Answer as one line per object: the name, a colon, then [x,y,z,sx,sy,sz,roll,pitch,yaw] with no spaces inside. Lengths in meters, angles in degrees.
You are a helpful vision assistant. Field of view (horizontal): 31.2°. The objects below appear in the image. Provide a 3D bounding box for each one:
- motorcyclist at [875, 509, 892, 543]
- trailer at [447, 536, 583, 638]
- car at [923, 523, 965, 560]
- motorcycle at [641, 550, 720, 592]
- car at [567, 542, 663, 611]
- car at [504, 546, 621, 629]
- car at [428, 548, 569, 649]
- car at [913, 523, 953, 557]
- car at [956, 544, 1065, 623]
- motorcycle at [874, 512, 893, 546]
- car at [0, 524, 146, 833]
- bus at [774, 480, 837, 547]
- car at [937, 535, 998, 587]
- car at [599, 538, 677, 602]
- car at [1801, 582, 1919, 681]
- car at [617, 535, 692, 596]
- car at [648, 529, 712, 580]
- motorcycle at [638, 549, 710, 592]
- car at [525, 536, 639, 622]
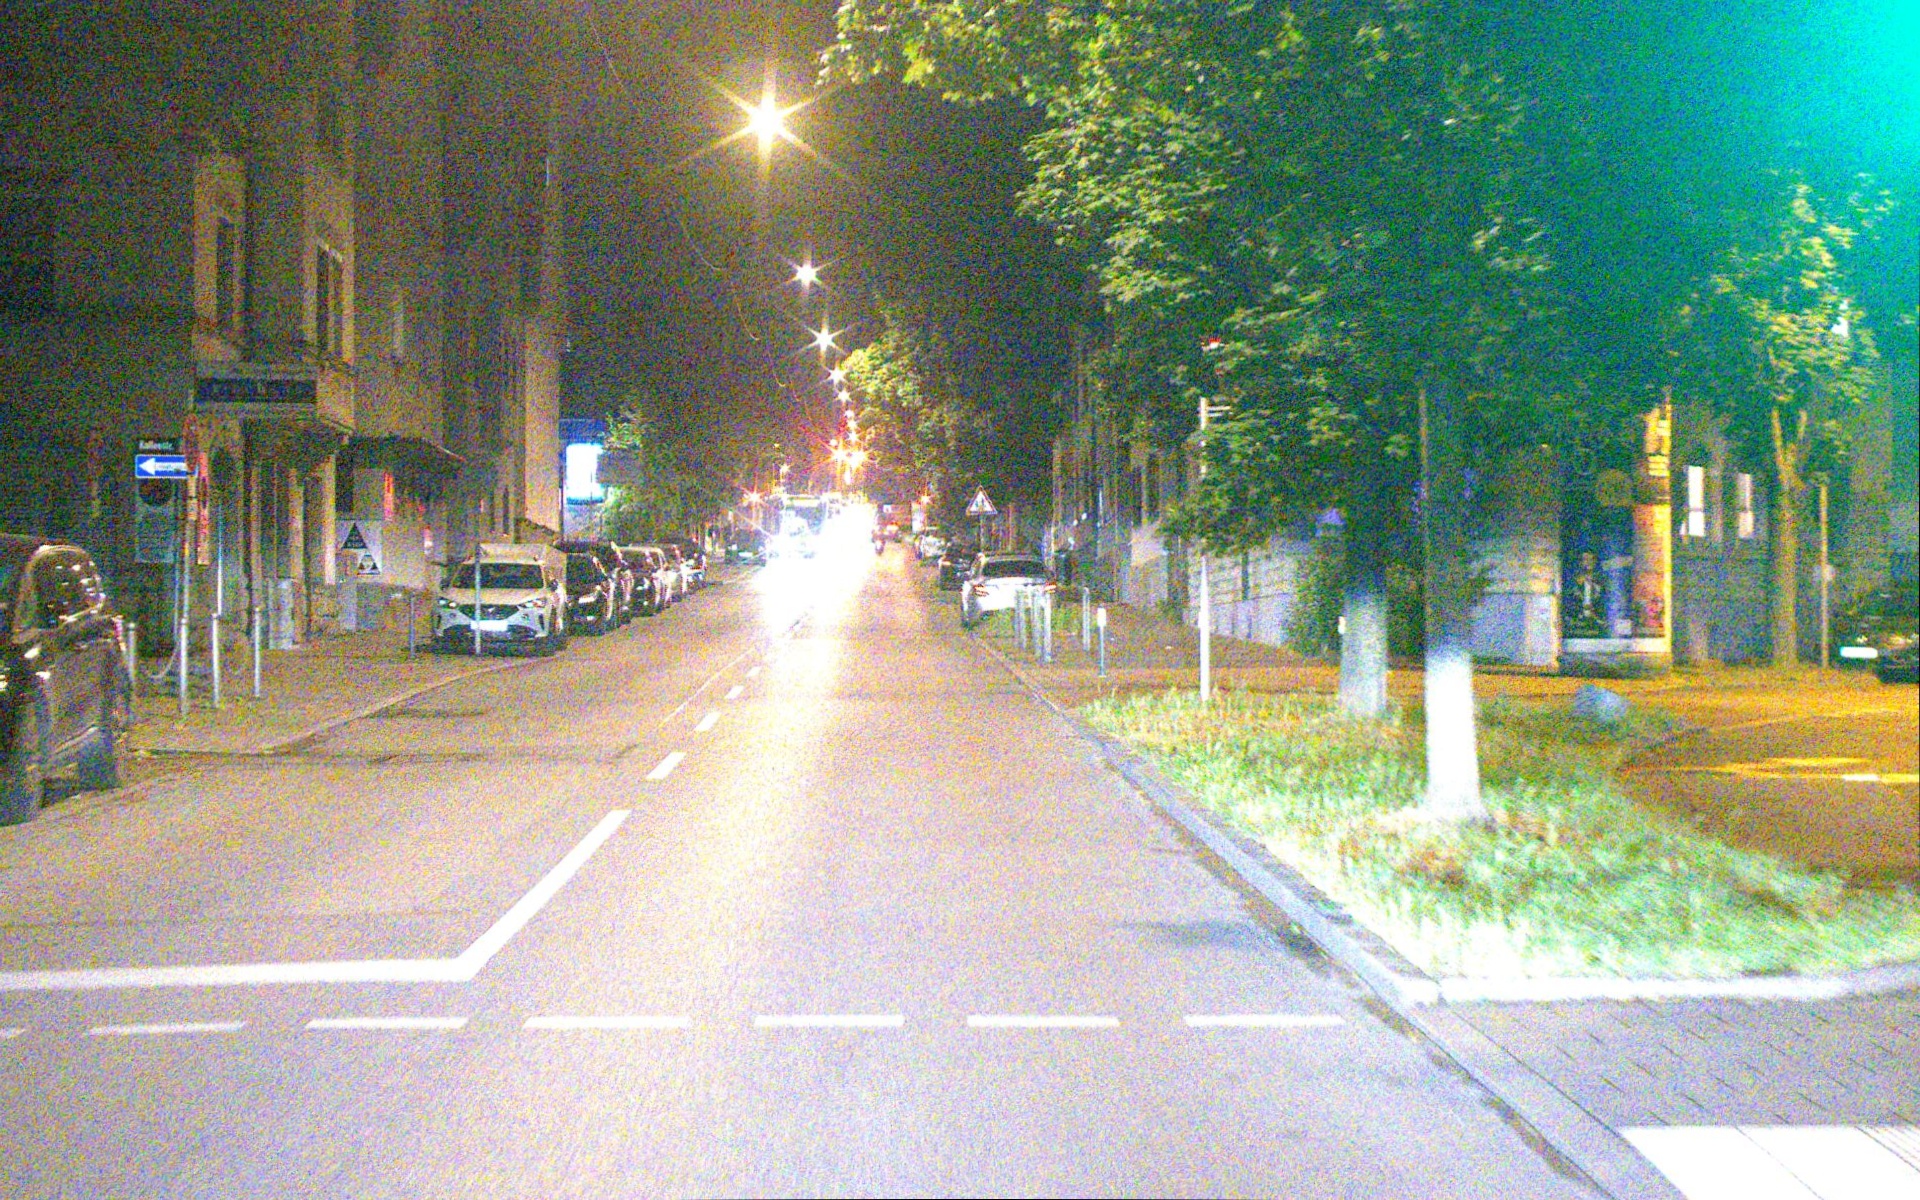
motorcyclist: [-3.959,-3.842,177.775,0.848,1.746,0.805,1,0,-1]
trailer: [-7.459,-0.221,57.920,1.638,1.634,3.439,1,0,3]
car: [-0.727,-2.631,153.972,1.812,1.588,4.274,-1,2,-1]
motorcycle: [-7.832,-0.814,96.187,2.205,1.127,0.714,1,2,32]
car: [-7.760,-0.537,77.676,1.863,1.486,4.281,1,0,-2]
car: [-7.347,-0.266,63.881,1.835,1.442,4.545,0,2,-2]
car: [-7.115,-0.051,53.336,1.814,1.479,4.348,0,1,-3]
car: [-1.328,-2.931,167.436,1.868,1.521,4.150,-1,2,-1]
car: [0.944,-0.333,66.861,1.845,1.412,4.646,-3,1,-2]
motorcycle: [-3.960,-3.661,177.777,0.931,1.746,2.625,1,0,-1]
car: [-6.311,0.374,21.133,1.848,1.644,4.672,1,2,-5]
bus: [-7.685,-4.342,172.201,2.837,3.166,10.500,1,2,-1]
car: [0.222,-1.213,105.293,1.763,1.471,4.081,-1,2,-1]
car: [-7.687,-0.719,82.186,1.621,1.486,3.781,1,0,-2]
car: [14.325,0.465,51.923,1.800,1.412,3.829,1,1,36]
car: [-7.970,-0.926,89.920,1.704,1.486,4.228,-1,2,-2]
car: [-8.277,-1.346,101.781,1.638,1.493,2.765,0,0,0]
motorcycle: [-7.837,-0.805,94.168,0.714,1.143,2.208,-2,2,-43]
car: [-7.552,-0.447,69.047,1.835,1.613,4.545,1,1,-1]
